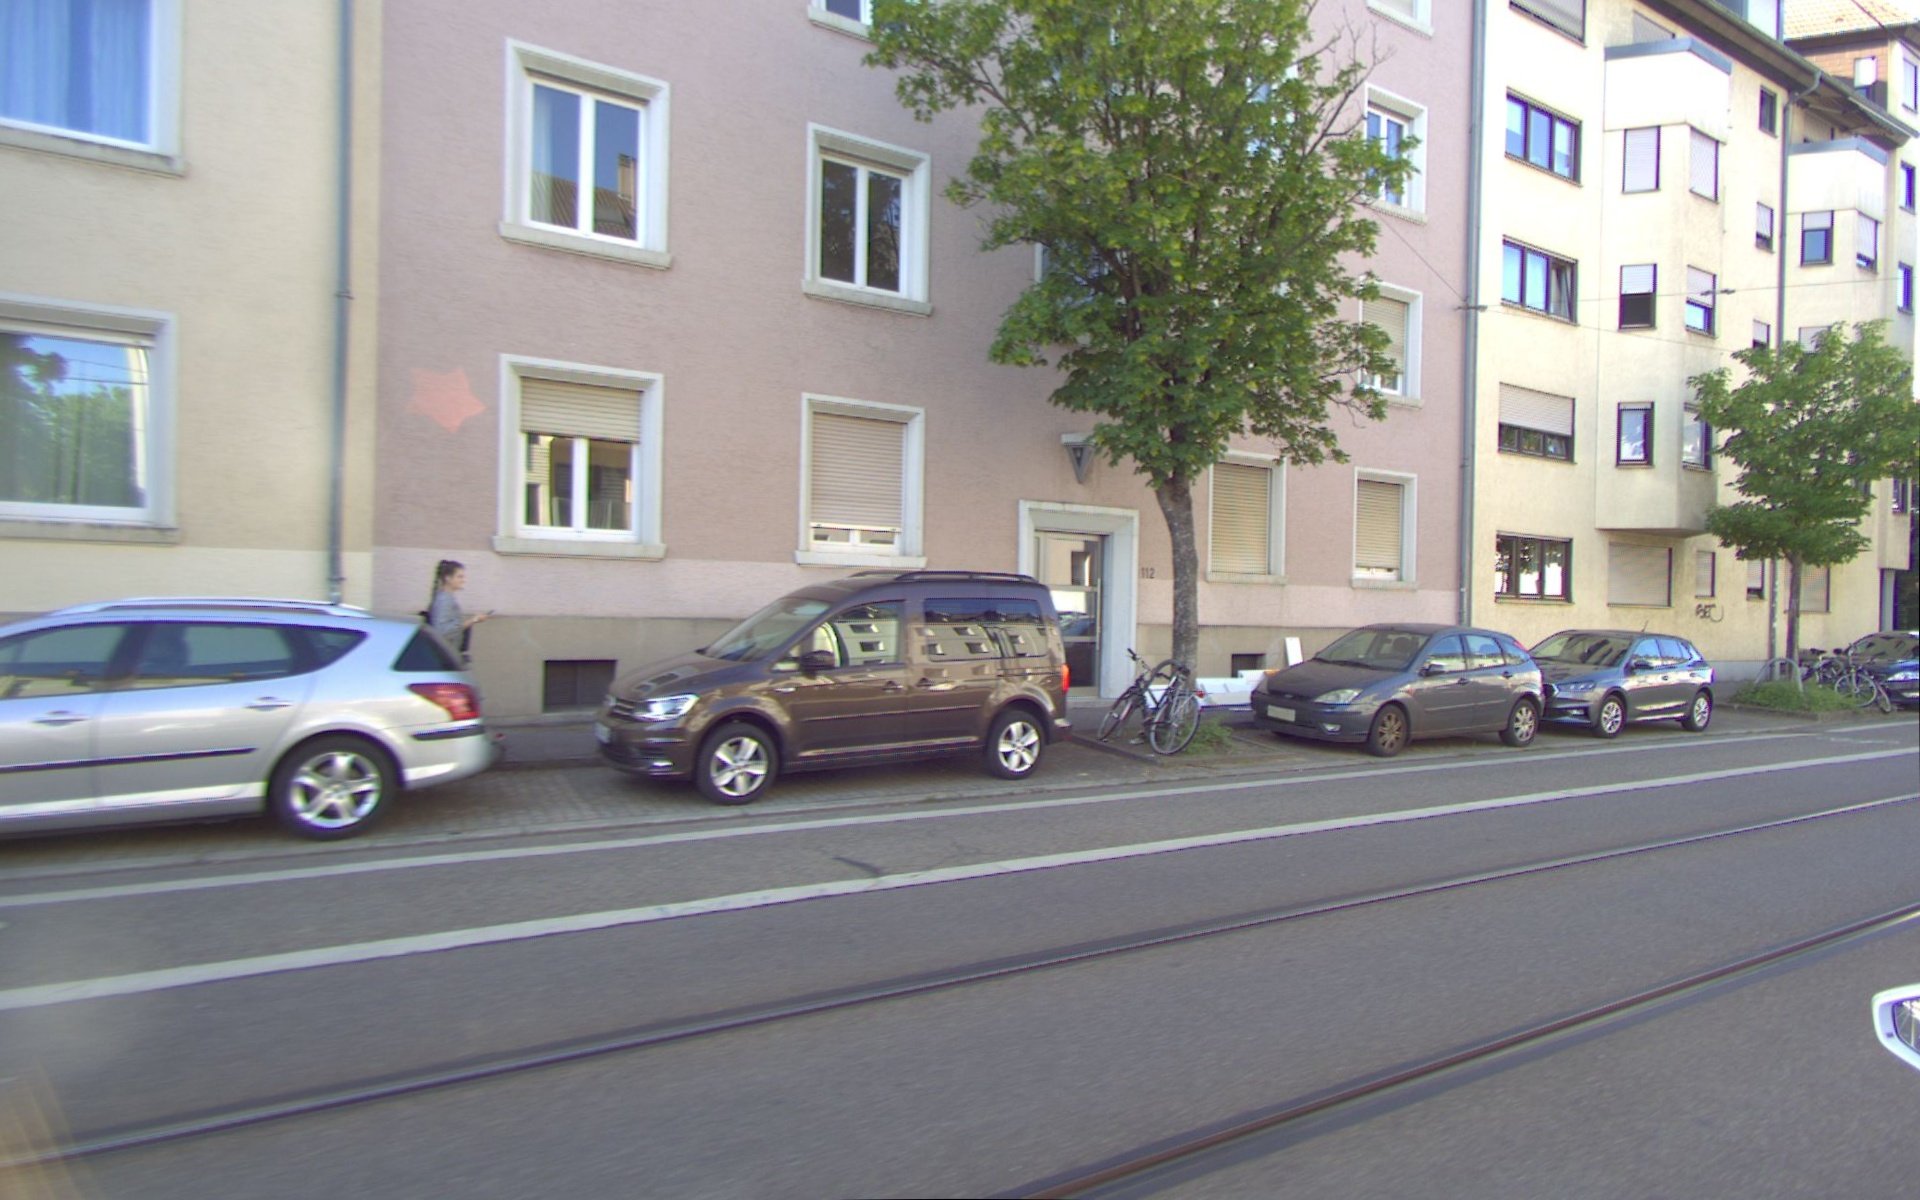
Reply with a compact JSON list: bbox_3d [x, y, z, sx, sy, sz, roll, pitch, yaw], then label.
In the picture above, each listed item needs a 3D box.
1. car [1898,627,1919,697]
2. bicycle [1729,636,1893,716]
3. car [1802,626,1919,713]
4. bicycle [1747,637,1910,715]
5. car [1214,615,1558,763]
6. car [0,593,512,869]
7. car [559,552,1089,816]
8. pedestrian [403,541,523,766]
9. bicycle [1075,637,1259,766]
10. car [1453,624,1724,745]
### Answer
[{"bbox_3d":[23.703,1.443,23.232,4.078,1.563,1.728,1,0,-28],"label":"car"},{"bbox_3d":[16.098,1.405,19.078,0.691,1.352,2.282,1,0,-29],"label":"bicycle"},{"bbox_3d":[19.378,1.359,20.517,4.675,1.563,1.758,1,0,-28],"label":"car"},{"bbox_3d":[16.729,1.425,19.431,0.691,1.352,2.282,1,0,-29],"label":"bicycle"},{"bbox_3d":[5.364,1.006,12.553,4.130,1.493,1.757,1,2,-29],"label":"car"},{"bbox_3d":[-5.548,0.721,6.325,4.803,1.492,1.756,1,0,-31],"label":"car"},{"bbox_3d":[-1.118,0.607,9.050,4.375,1.870,1.755,1,2,-32],"label":"car"},{"bbox_3d":[-4.437,0.458,8.956,0.900,1.887,0.689,1,0,-30],"label":"pedestrian"},{"bbox_3d":[2.227,1.056,11.139,0.738,1.120,2.100,1,2,-31],"label":"bicycle"},{"bbox_3d":[9.450,1.180,15.051,3.994,1.493,1.756,1,2,-30],"label":"car"}]
